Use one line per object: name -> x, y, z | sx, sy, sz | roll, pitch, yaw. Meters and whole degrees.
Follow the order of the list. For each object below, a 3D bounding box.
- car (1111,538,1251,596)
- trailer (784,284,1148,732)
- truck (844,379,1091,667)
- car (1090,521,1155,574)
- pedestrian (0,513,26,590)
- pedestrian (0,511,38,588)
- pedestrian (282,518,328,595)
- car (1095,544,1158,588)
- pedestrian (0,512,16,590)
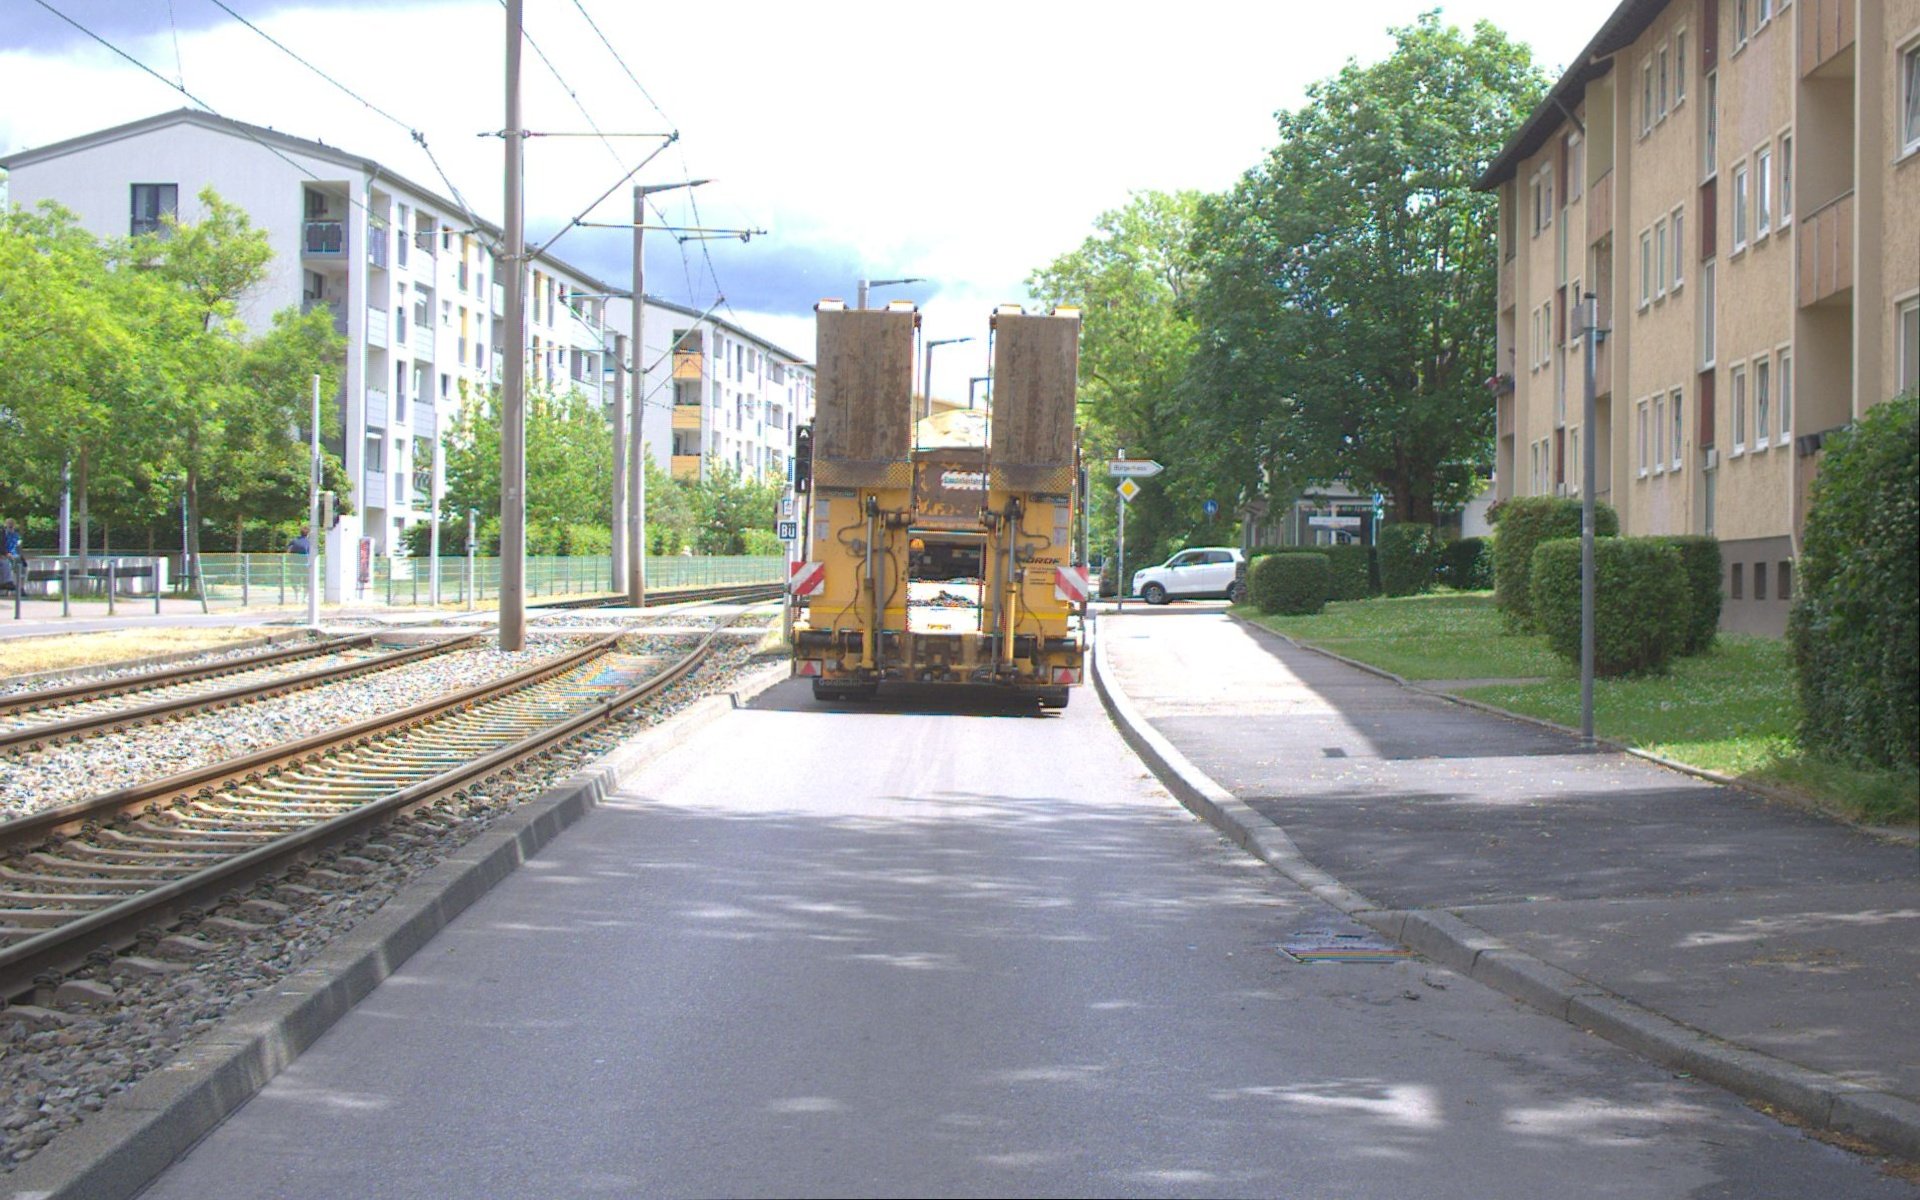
car -> 6.158, -0.906, 95.638 | 3.600, 1.579, 1.999 | 0, 0, 14
trailer -> 0.022, -0.947, 34.896 | 3.050, 3.759, 11.613 | -1, 2, 0
truck -> 0.070, -1.007, 43.854 | 2.833, 3.319, 7.985 | -1, 2, 0
car -> 5.185, -1.704, 109.864 | 1.993, 1.612, 4.000 | 0, 2, 2
pedestrian -> -19.443, -0.989, 69.957 | 0.623, 1.567, 0.557 | 0, 2, 13
pedestrian -> -19.346, -1.037, 70.556 | 0.622, 1.567, 0.558 | 0, 2, 8
pedestrian -> -14.255, -0.957, 74.860 | 0.749, 1.656, 0.869 | 0, 2, 6
car -> 5.533, -1.141, 114.593 | 1.993, 1.382, 4.000 | -1, 2, 2
pedestrian -> -19.500, -0.990, 69.278 | 0.623, 1.567, 0.697 | 0, 2, 13
